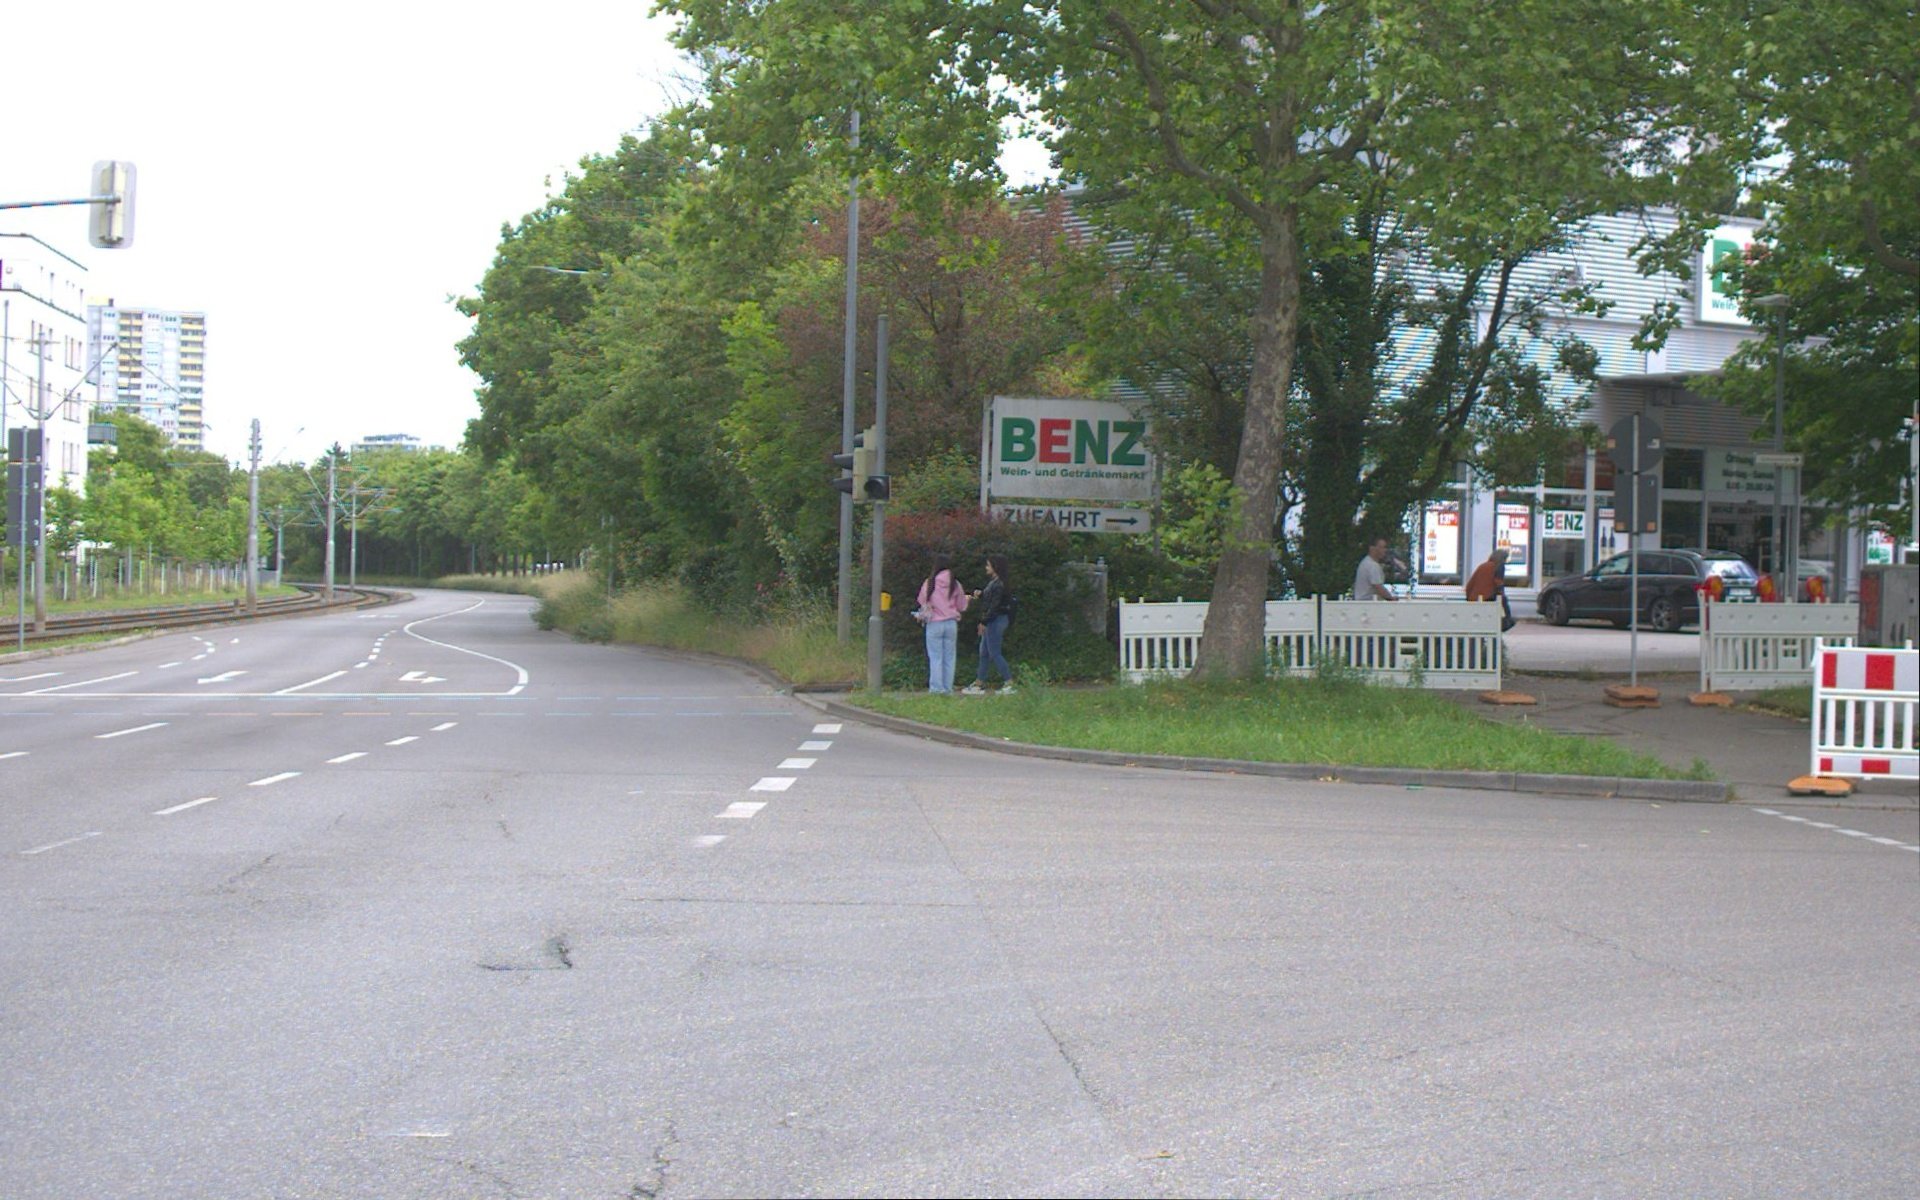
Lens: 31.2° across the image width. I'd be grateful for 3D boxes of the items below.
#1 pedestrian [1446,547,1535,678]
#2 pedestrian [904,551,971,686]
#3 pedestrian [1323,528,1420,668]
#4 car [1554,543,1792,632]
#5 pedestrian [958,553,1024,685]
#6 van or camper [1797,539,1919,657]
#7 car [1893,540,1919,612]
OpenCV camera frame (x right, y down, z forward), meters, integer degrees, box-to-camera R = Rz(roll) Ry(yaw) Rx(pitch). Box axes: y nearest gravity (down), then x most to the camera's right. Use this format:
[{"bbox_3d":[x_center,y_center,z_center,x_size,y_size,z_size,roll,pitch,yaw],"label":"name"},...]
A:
[{"bbox_3d":[6.279,0.151,40.700,0.653,1.533,0.772,1,-1,-40],"label":"pedestrian"},{"bbox_3d":[-0.253,0.202,38.397,0.697,1.484,0.688,1,0,-3],"label":"pedestrian"},{"bbox_3d":[4.720,-0.025,39.411,0.795,1.581,0.849,1,-1,32],"label":"pedestrian"},{"bbox_3d":[12.506,-0.215,60.527,1.728,1.495,4.269,1,0,-29],"label":"car"},{"bbox_3d":[0.352,0.217,39.199,0.697,1.484,0.720,1,0,-2],"label":"pedestrian"},{"bbox_3d":[14.293,-0.036,50.065,1.840,1.678,4.000,0,1,-30],"label":"van or camper"},{"bbox_3d":[19.882,-0.456,66.502,1.480,1.399,3.408,1,0,-33],"label":"car"}]
